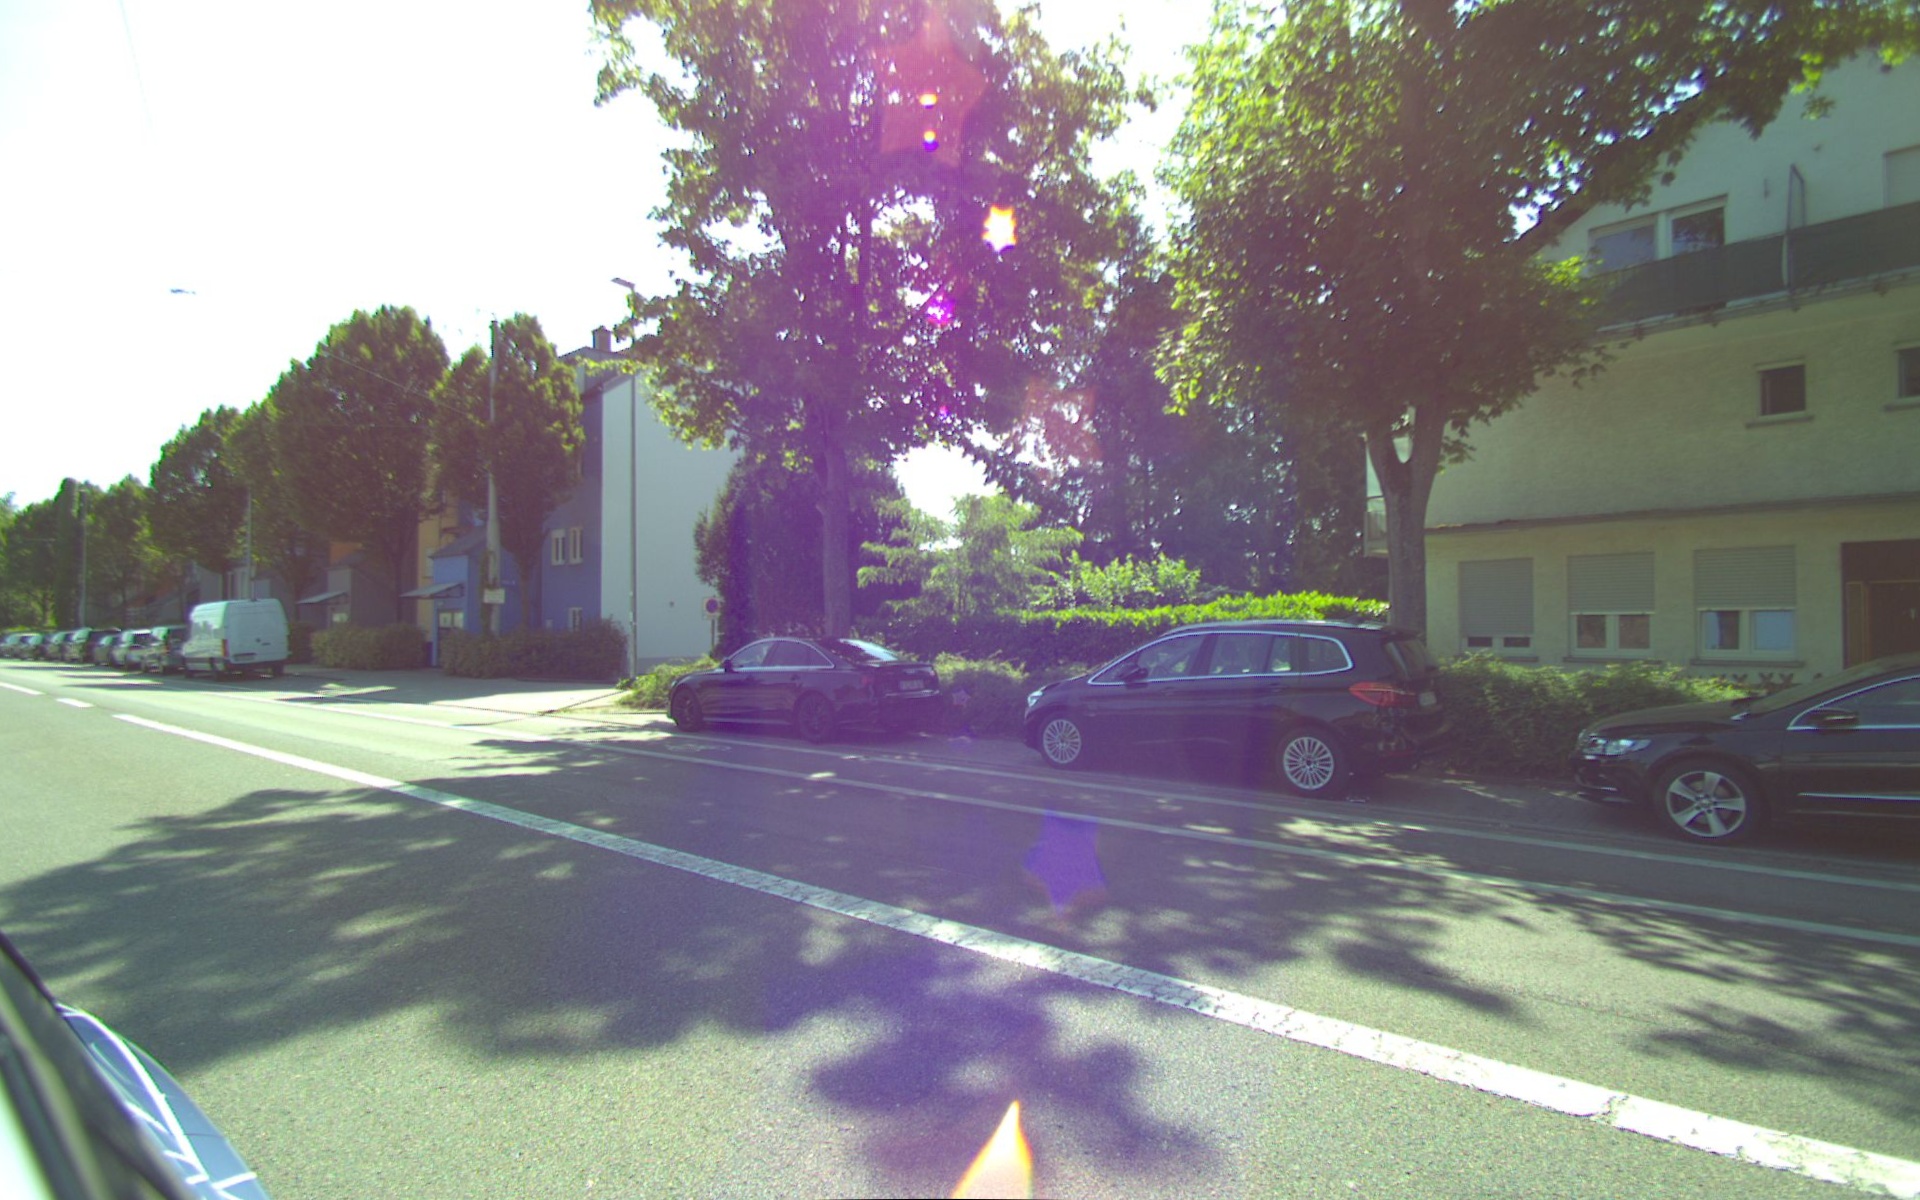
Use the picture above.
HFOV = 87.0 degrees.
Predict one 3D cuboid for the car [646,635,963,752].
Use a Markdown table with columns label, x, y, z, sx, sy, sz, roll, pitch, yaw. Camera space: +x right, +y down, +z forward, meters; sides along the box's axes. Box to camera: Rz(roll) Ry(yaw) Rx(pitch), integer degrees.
| label | x | y | z | sx | sy | sz | roll | pitch | yaw |
| --- | --- | --- | --- | --- | --- | --- | --- | --- | --- |
| car | -2.445 | 1.269 | 15.088 | 4.903 | 1.477 | 1.822 | -2 | -2 | 38 |

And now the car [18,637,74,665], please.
| label | x | y | z | sx | sy | sz | roll | pitch | yaw |
| --- | --- | --- | --- | --- | --- | --- | --- | --- | --- |
| car | -52.748 | 2.923 | 58.395 | 4.207 | 1.481 | 1.661 | -1 | -1 | 38 |

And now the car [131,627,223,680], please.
| label | x | y | z | sx | sy | sz | roll | pitch | yaw |
| --- | --- | --- | --- | --- | --- | --- | --- | --- | --- |
| car | -31.777 | 2.134 | 41.038 | 4.964 | 1.879 | 1.973 | -2 | 2 | 41 |

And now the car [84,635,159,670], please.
| label | x | y | z | sx | sy | sz | roll | pitch | yaw |
| --- | --- | --- | --- | --- | --- | --- | --- | --- | --- |
| car | -39.858 | 2.453 | 48.093 | 4.069 | 1.466 | 1.849 | -1 | 1 | 38 |

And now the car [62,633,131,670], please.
| label | x | y | z | sx | sy | sz | roll | pitch | yaw |
| --- | --- | --- | --- | --- | --- | --- | --- | --- | --- |
| car | -43.825 | 2.572 | 51.351 | 4.343 | 1.741 | 1.812 | -1 | 0 | 38 |

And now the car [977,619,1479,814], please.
| label | x | y | z | sx | sy | sz | roll | pitch | yaw |
| --- | --- | --- | --- | --- | --- | --- | --- | --- | --- |
| car | 2.609 | 1.042 | 10.750 | 4.891 | 1.618 | 1.743 | -2 | -2 | 41 |

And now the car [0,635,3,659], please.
| label | x | y | z | sx | sy | sz | roll | pitch | yaw |
| --- | --- | --- | --- | --- | --- | --- | --- | --- | --- |
| car | -67.496 | 3.253 | 69.293 | 4.920 | 1.588 | 1.889 | -1 | -1 | 35 |

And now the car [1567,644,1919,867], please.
| label | x | y | z | sx | sy | sz | roll | pitch | yaw |
| --- | --- | --- | --- | --- | --- | --- | --- | --- | --- |
| car | 6.995 | 1.012 | 6.800 | 4.780 | 1.390 | 1.672 | -2 | -3 | 41 |

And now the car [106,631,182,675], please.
| label | x | y | z | sx | sy | sz | roll | pitch | yaw |
| --- | --- | --- | --- | --- | --- | --- | --- | --- | --- |
| car | -36.018 | 2.300 | 44.624 | 4.539 | 1.715 | 1.829 | -1 | 1 | 42 |

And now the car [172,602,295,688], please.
| label | x | y | z | sx | sy | sz | roll | pitch | yaw |
| --- | --- | --- | --- | --- | --- | --- | --- | --- | --- |
| car | -25.729 | 1.548 | 35.688 | 7.084 | 2.697 | 1.972 | -2 | 1 | 42 |

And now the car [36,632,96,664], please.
| label | x | y | z | sx | sy | sz | roll | pitch | yaw |
| --- | --- | --- | --- | --- | --- | --- | --- | --- | --- |
| car | -48.077 | 2.566 | 54.424 | 4.159 | 1.619 | 1.661 | -1 | -1 | 38 |

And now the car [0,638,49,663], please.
| label | x | y | z | sx | sy | sz | roll | pitch | yaw |
| --- | --- | --- | --- | --- | --- | --- | --- | --- | --- |
| car | -58.138 | 3.096 | 62.549 | 4.826 | 1.457 | 1.662 | -1 | -1 | 35 |
